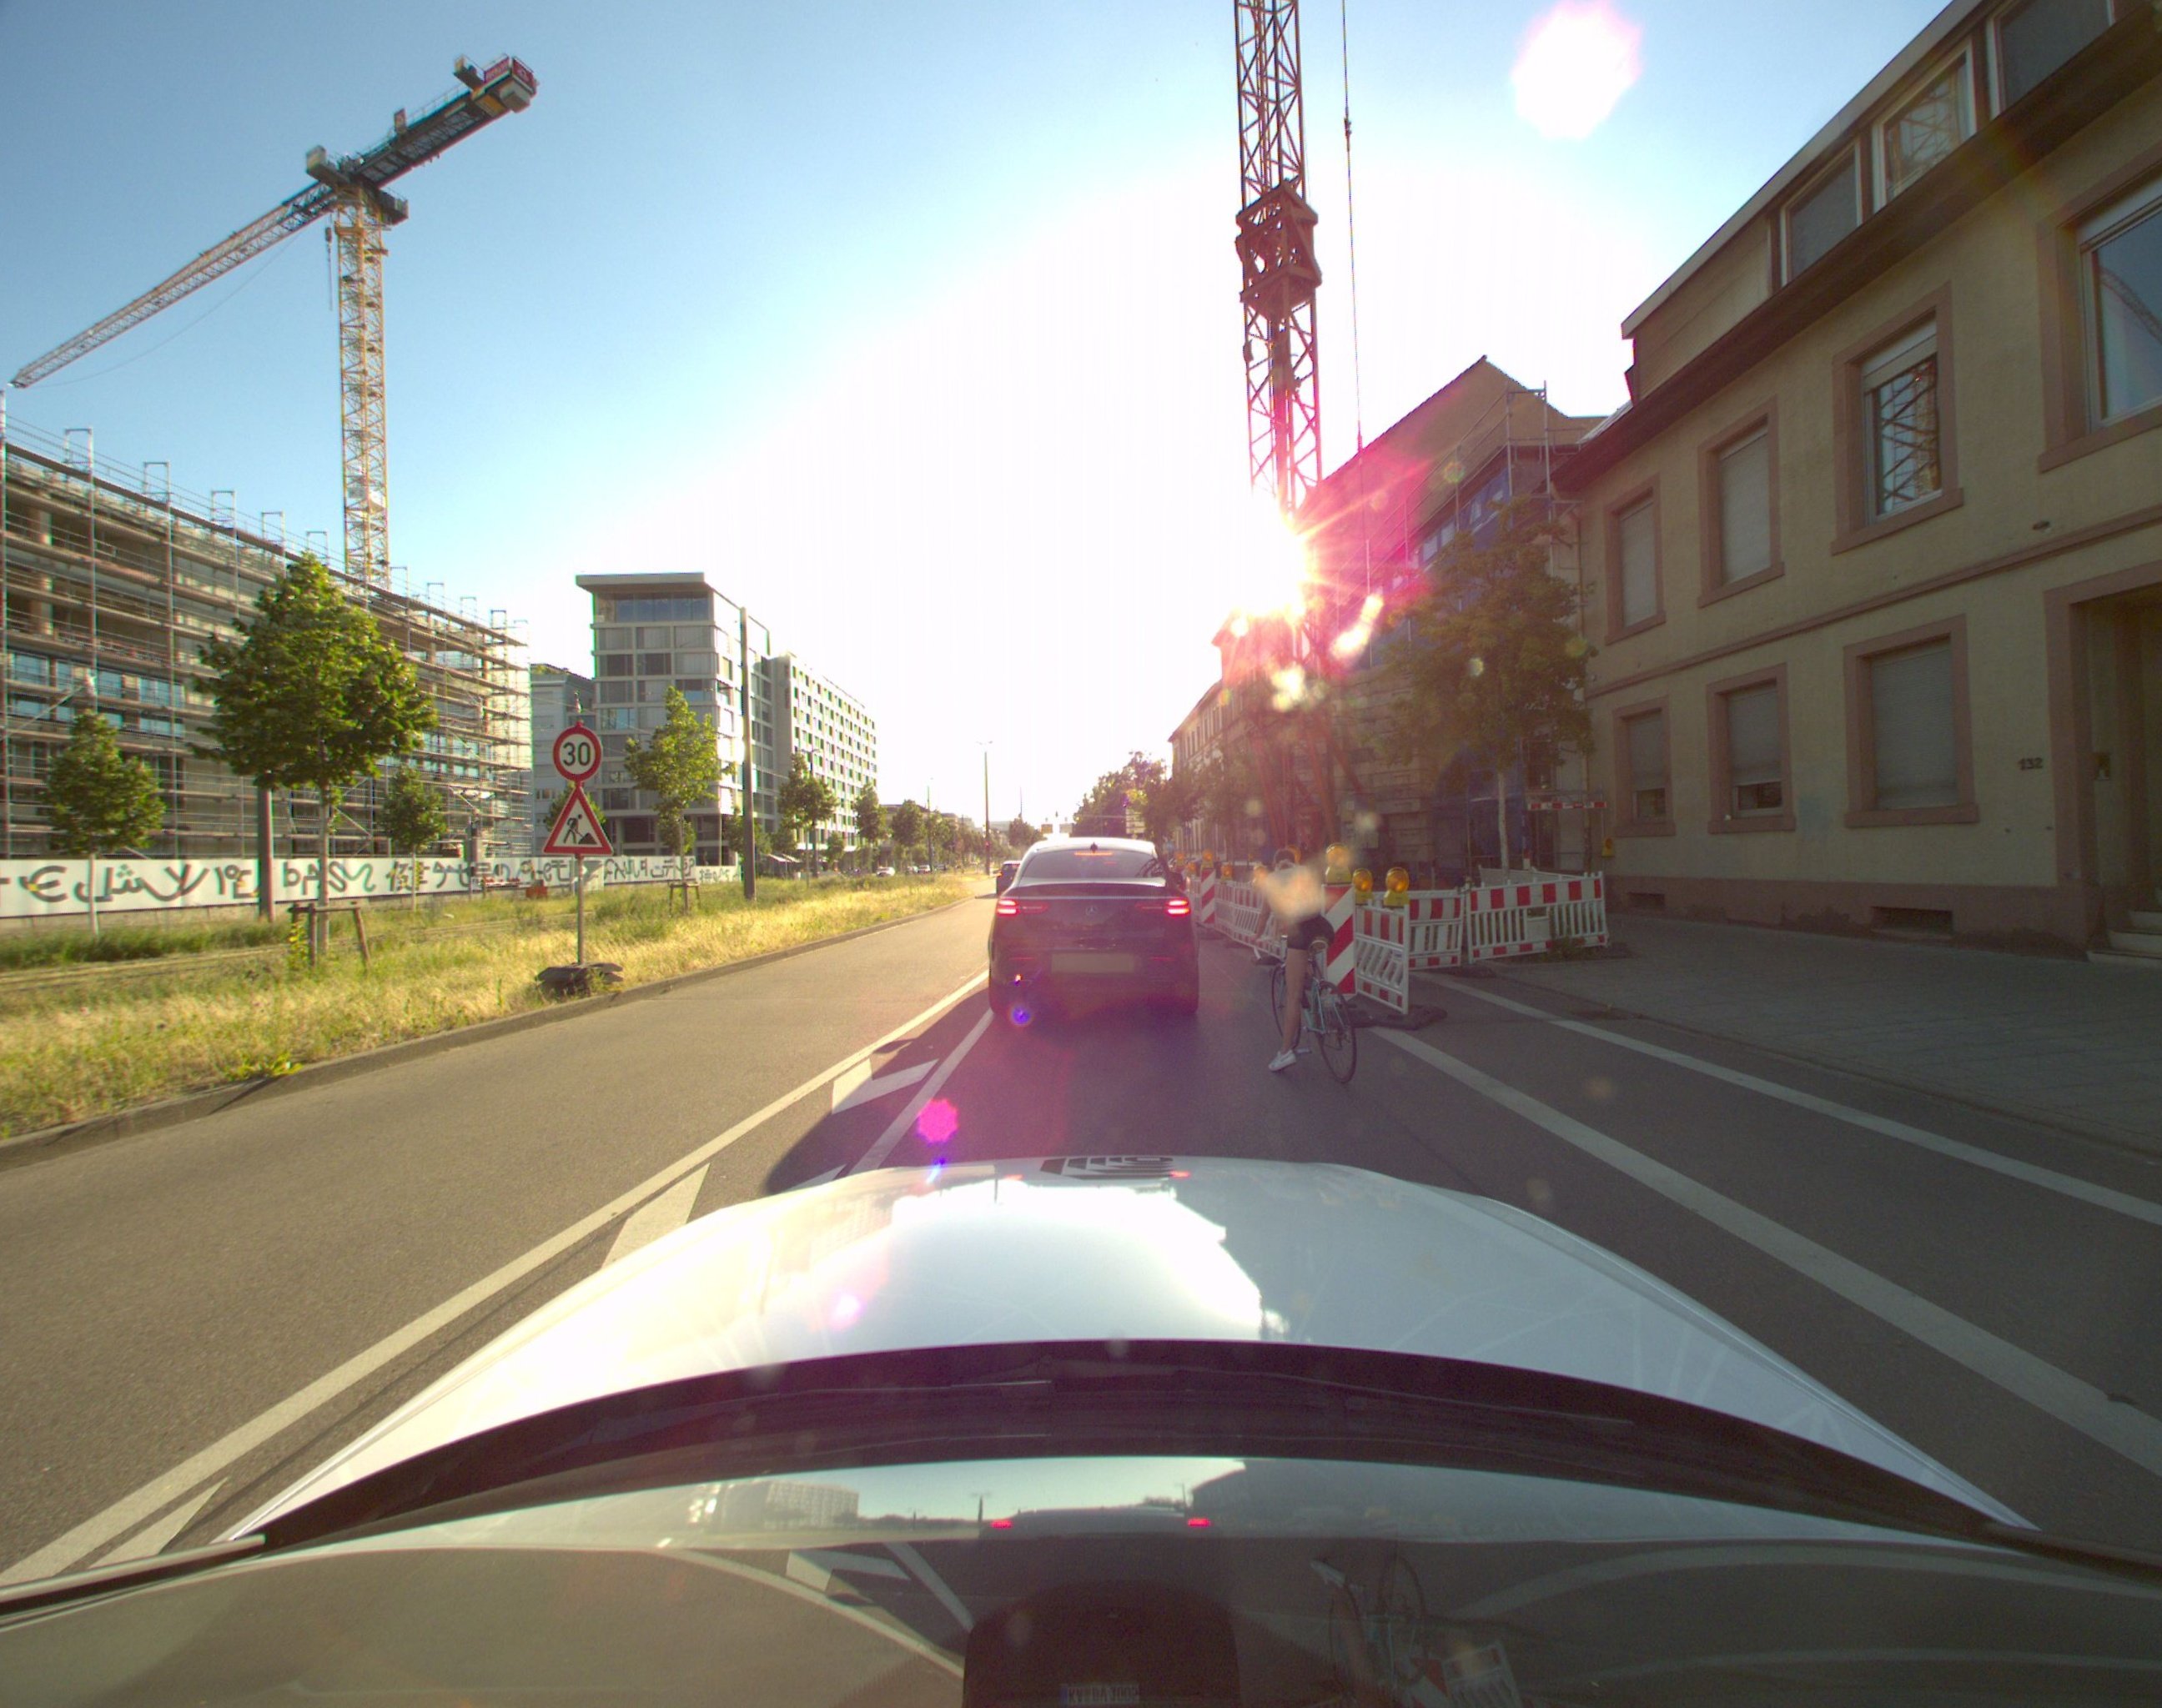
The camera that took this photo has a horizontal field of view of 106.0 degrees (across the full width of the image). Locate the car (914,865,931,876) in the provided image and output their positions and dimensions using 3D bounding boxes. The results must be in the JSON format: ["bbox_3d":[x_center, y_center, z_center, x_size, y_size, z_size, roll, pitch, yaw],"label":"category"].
[{"bbox_3d":[-22.553,2.331,115.786,1.703,1.442,3.581,0,-1,0],"label":"car"}]

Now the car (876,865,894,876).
[{"bbox_3d":[-28.014,2.378,116.380,1.703,1.442,3.581,0,-1,0],"label":"car"}]

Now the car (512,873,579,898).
[{"bbox_3d":[-32.377,1.880,49.340,1.703,1.442,3.581,0,-1,0],"label":"car"}]

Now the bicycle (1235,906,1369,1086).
[{"bbox_3d":[1.584,0.967,6.101,0.511,1.052,1.724,0,-1,-1],"label":"bicycle"}]

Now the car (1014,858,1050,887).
[{"bbox_3d":[-2.541,0.958,42.924,1.703,1.442,3.581,0,-1,0],"label":"car"}]

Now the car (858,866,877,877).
[{"bbox_3d":[-30.273,2.499,115.439,1.703,1.442,3.581,0,-1,0],"label":"car"}]

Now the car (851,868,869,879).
[{"bbox_3d":[-32.179,2.810,118.540,1.703,1.442,3.581,0,-1,0],"label":"car"}]

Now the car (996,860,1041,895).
[{"bbox_3d":[-2.668,0.980,35.573,1.703,1.442,3.581,0,-1,0],"label":"car"}]

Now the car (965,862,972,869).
[{"bbox_3d":[-32.675,3.387,236.270,1.994,2.014,3.986,0,-1,-10],"label":"car"}]

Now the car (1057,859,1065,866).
[{"bbox_3d":[-4.531,1.890,184.650,1.703,1.442,3.581,0,-1,0],"label":"car"}]

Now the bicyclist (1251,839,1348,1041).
[{"bbox_3d":[1.587,0.600,5.981,0.521,1.395,0.614,0,-1,-1],"label":"bicyclist"}]

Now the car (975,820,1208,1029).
[{"bbox_3d":[0.149,0.621,8.979,1.986,1.772,4.001,0,-1,2],"label":"car"}]

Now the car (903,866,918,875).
[{"bbox_3d":[-28.055,2.650,133.849,1.703,1.442,3.581,0,-1,0],"label":"car"}]

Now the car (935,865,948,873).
[{"bbox_3d":[-25.388,2.742,148.089,1.703,1.442,3.581,0,-1,0],"label":"car"}]
